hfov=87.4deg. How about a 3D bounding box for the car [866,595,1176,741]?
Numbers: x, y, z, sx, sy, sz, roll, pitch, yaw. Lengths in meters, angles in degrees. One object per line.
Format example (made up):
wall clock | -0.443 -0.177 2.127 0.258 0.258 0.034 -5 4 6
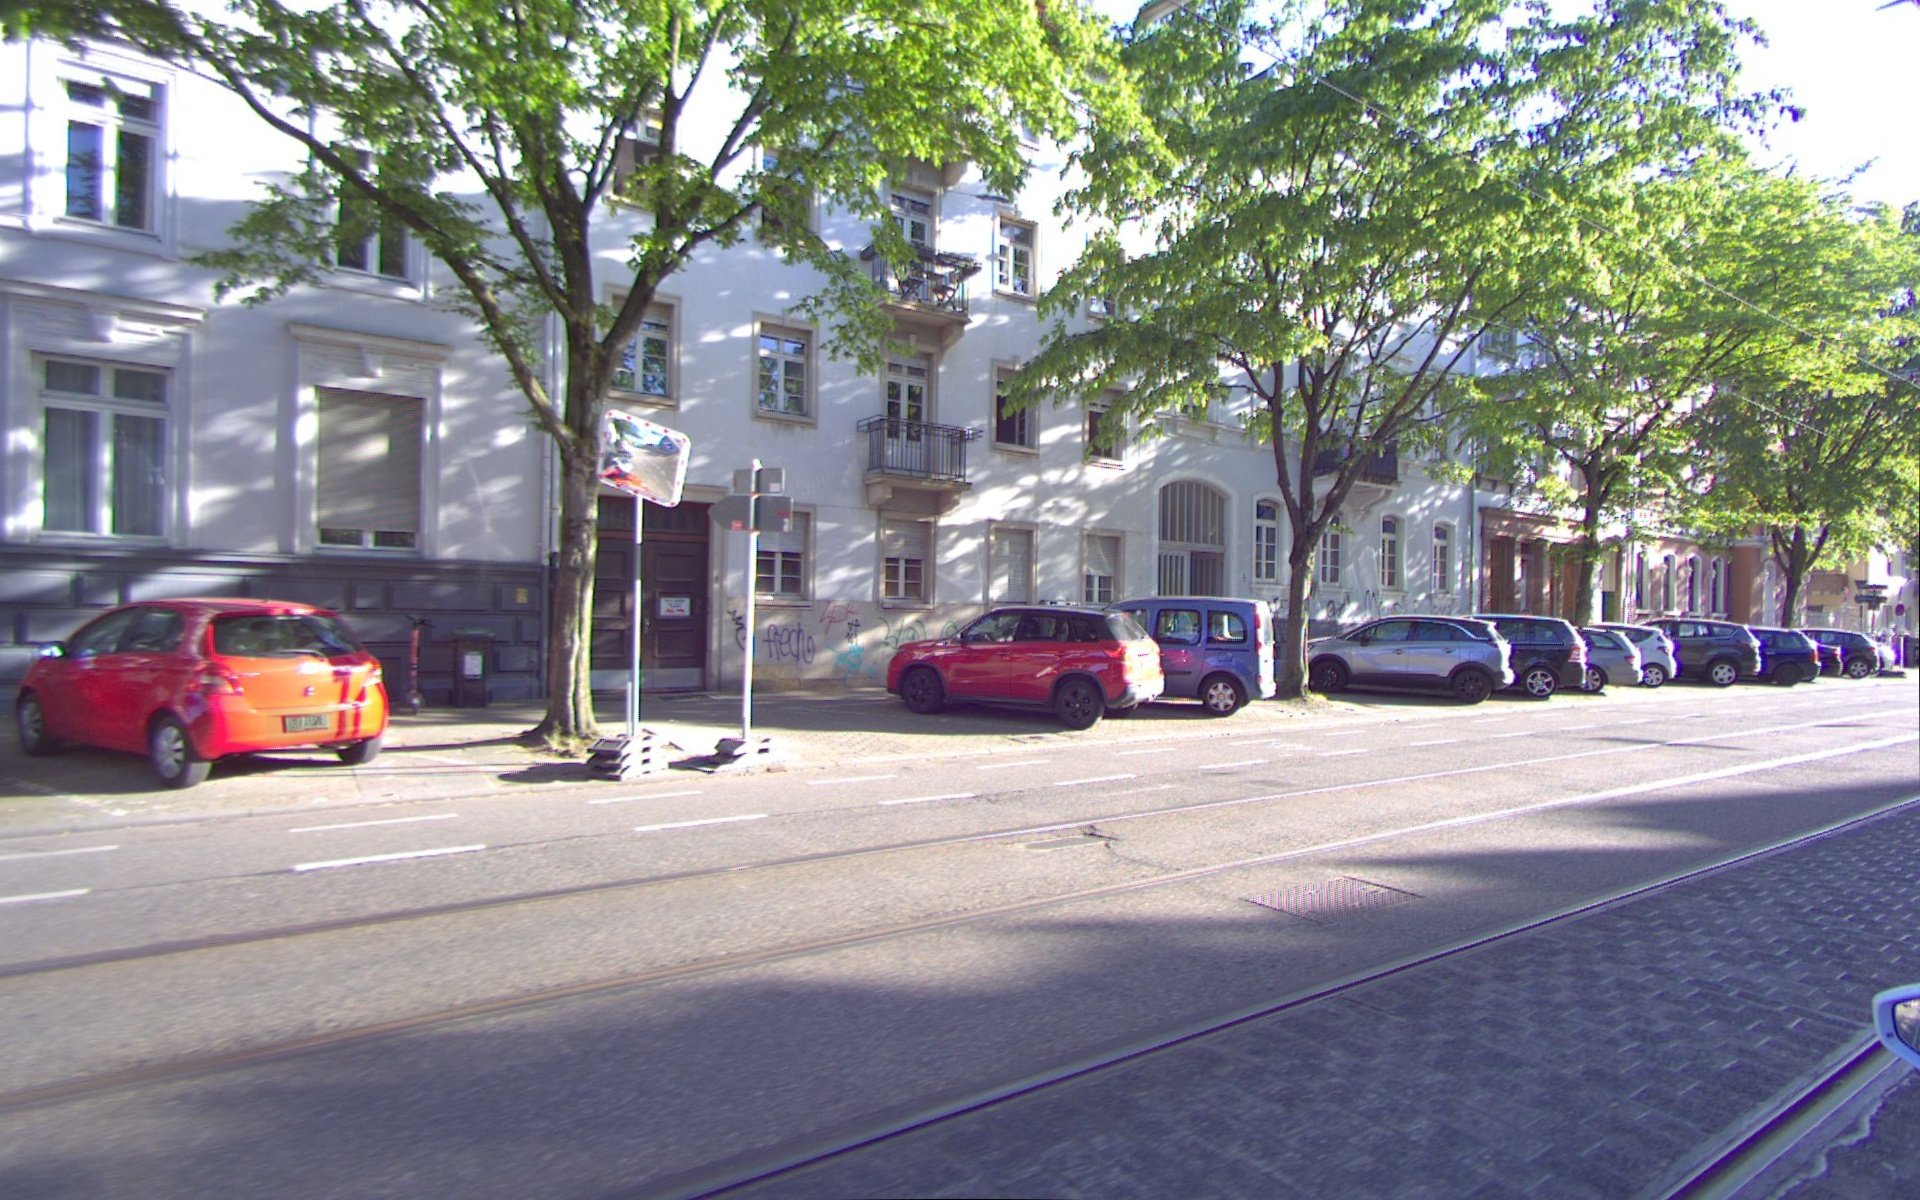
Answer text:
car | 0.863 0.873 14.689 4.124 1.659 1.740 4 2 28

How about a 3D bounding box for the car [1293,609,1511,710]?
car | 8.834 1.121 20.169 3.799 1.676 1.771 3 0 27

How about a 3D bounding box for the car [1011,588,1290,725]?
car | 3.137 0.851 16.657 4.124 1.822 1.783 4 0 28

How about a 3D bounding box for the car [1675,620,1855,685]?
car | 24.481 1.565 30.712 3.908 1.638 1.634 3 1 21

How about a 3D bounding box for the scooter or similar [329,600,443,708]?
scooter or similar | -7.571 0.706 13.280 1.270 1.376 0.398 1 -1 -30

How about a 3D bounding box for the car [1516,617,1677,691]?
car | 16.352 1.347 25.975 3.219 1.553 1.706 4 2 25

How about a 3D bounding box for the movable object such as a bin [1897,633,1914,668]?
movable object such as a bin | 39.714 2.138 42.185 0.382 1.445 0.379 2 -1 -22

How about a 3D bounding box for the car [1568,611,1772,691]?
car | 19.256 1.341 27.489 4.205 1.745 1.706 4 1 25

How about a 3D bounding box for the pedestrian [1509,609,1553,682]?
pedestrian | 14.293 1.135 25.145 0.803 1.779 0.756 2 -1 -45

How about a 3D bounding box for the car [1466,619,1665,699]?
car | 13.868 1.311 23.267 3.752 1.505 1.769 3 0 27

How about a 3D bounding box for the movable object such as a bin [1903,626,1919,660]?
movable object such as a bin | 40.115 1.807 42.363 0.380 1.445 0.379 2 -1 -22

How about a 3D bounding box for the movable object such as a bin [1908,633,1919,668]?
movable object such as a bin | 40.471 2.144 42.515 0.382 1.445 0.379 2 -1 -22

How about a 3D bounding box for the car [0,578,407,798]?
car | -7.319 0.672 9.491 4.124 1.579 1.638 3 1 28

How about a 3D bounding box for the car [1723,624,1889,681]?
car | 28.211 1.713 33.652 3.848 1.528 1.688 4 2 25

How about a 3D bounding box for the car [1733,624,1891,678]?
car | 30.274 1.781 35.813 3.839 1.542 1.735 3 2 20

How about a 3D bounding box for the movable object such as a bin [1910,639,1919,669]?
movable object such as a bin | 39.739 2.222 41.578 0.630 1.219 0.379 2 -1 -22

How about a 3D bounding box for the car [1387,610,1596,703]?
car | 11.399 1.159 21.741 3.799 1.676 1.771 3 0 28

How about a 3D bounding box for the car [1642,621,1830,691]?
car | 22.171 1.562 28.880 3.908 1.638 1.634 3 1 21
